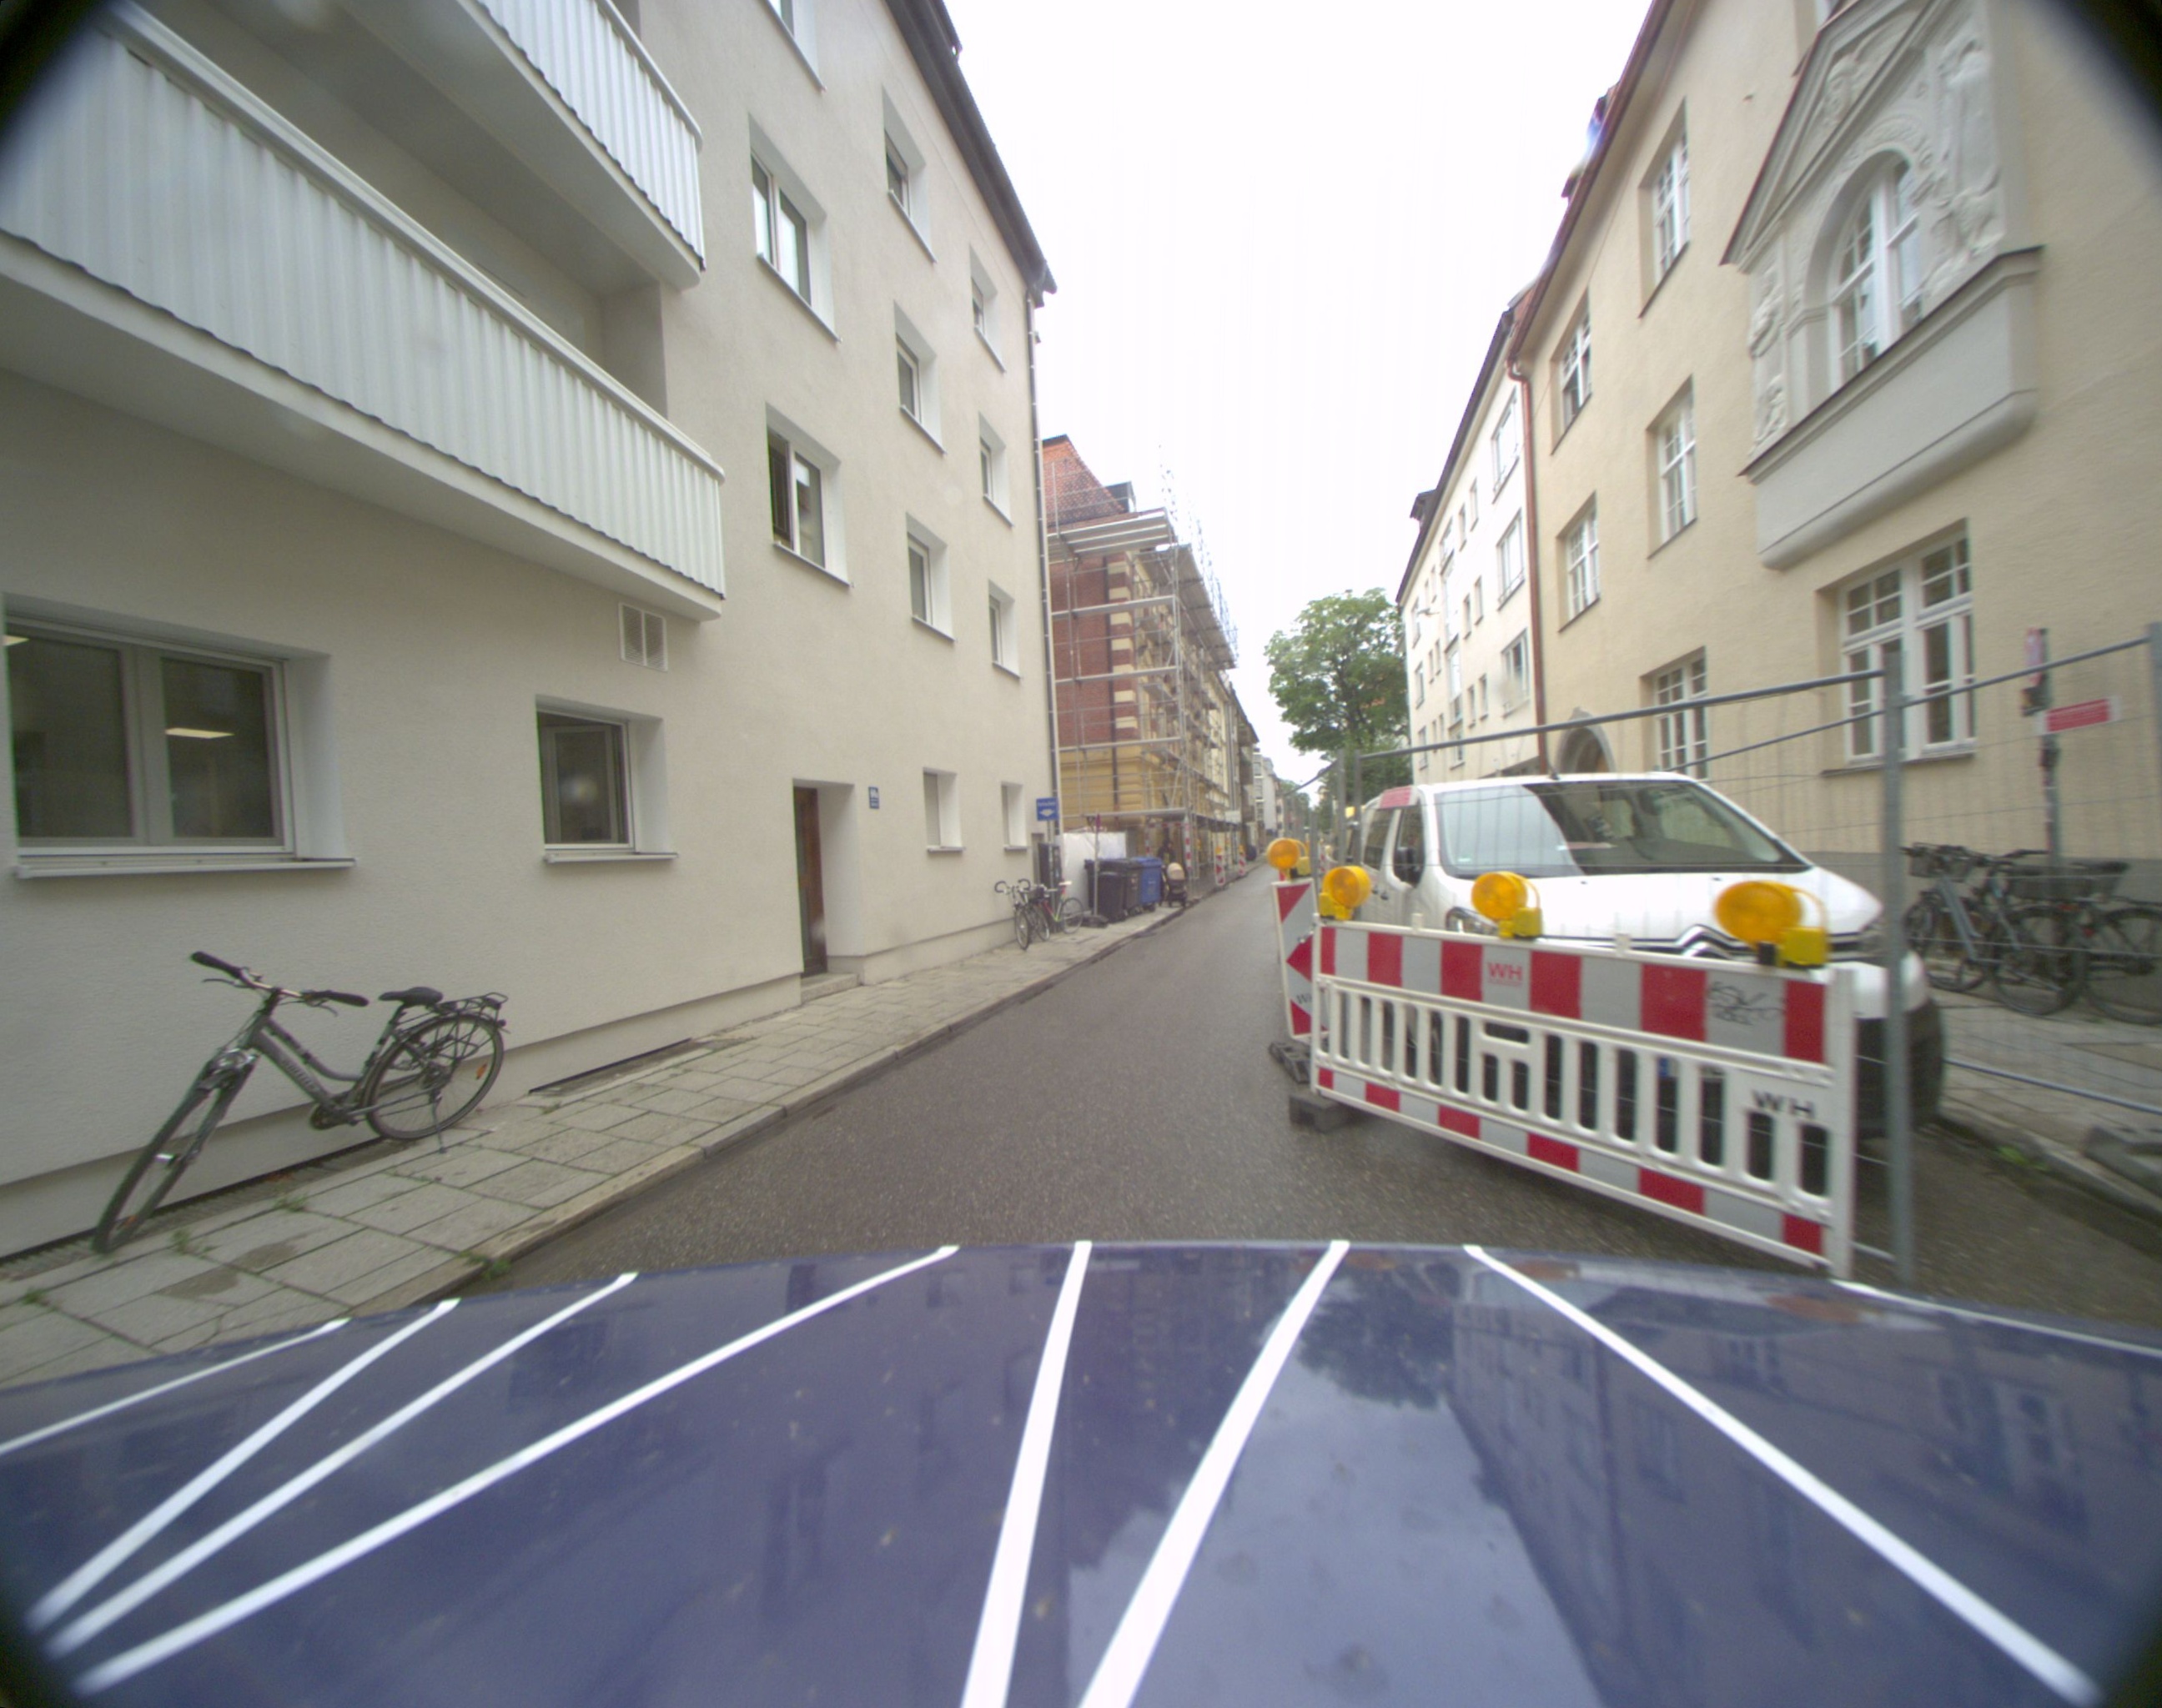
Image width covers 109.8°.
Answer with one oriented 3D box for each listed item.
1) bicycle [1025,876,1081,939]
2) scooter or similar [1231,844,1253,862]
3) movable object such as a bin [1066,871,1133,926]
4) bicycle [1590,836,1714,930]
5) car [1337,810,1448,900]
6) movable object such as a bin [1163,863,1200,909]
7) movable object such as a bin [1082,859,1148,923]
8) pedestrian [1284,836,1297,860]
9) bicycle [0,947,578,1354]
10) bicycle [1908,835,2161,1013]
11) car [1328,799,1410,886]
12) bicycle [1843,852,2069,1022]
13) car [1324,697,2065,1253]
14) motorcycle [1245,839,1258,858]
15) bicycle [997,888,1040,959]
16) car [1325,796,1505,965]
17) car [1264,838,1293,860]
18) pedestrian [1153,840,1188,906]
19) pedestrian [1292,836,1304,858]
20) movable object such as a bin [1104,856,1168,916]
[{"bbox_3d":[-0.475,0.923,13.510,0.281,0.986,1.436,0,2,30],"label":"bicycle"},{"bbox_3d":[11.023,-0.086,51.924,1.610,1.177,0.494,-2,2,-33],"label":"scooter or similar"},{"bbox_3d":[0.408,0.935,16.327,1.212,1.089,0.790,0,2,25],"label":"movable object such as a bin"},{"bbox_3d":[8.020,0.367,10.787,0.382,1.181,2.137,-5,-1,9],"label":"bicycle"},{"bbox_3d":[7.496,-0.030,18.725,1.920,1.886,4.795,-2,1,15],"label":"car"},{"bbox_3d":[2.635,0.816,20.007,0.732,1.134,0.987,0,2,-8],"label":"movable object such as a bin"},{"bbox_3d":[0.779,0.810,17.223,1.127,1.338,1.173,0,2,25],"label":"movable object such as a bin"},{"bbox_3d":[15.601,-0.451,56.574,0.659,1.676,0.587,-5,0,22],"label":"pedestrian"},{"bbox_3d":[-3.556,1.149,3.627,0.639,1.146,1.917,-1,1,17],"label":"bicycle"},{"bbox_3d":[6.519,0.408,5.251,0.304,1.045,1.456,-6,0,15],"label":"bicycle"},{"bbox_3d":[9.925,-0.445,26.683,1.996,2.564,6.743,-3,1,16],"label":"car"},{"bbox_3d":[6.295,0.539,5.555,0.304,1.045,1.392,-6,0,15],"label":"bicycle"},{"bbox_3d":[2.941,0.405,5.257,1.907,1.886,5.093,-4,1,13],"label":"car"},{"bbox_3d":[13.706,-0.447,60.949,0.806,1.415,1.934,2,2,17],"label":"motorcycle"},{"bbox_3d":[-0.987,1.093,12.268,0.404,0.986,1.329,0,2,8],"label":"bicycle"},{"bbox_3d":[4.656,0.241,11.360,1.729,1.886,5.514,-2,1,16],"label":"car"},{"bbox_3d":[15.670,-0.421,60.175,1.774,1.515,4.071,-6,0,19],"label":"car"},{"bbox_3d":[2.436,0.506,20.755,0.732,1.743,0.987,-1,2,-8],"label":"pedestrian"},{"bbox_3d":[16.512,-0.533,57.913,0.659,1.676,0.547,-5,0,22],"label":"pedestrian"},{"bbox_3d":[1.342,0.748,18.337,1.087,1.339,1.319,0,2,29],"label":"movable object such as a bin"}]
